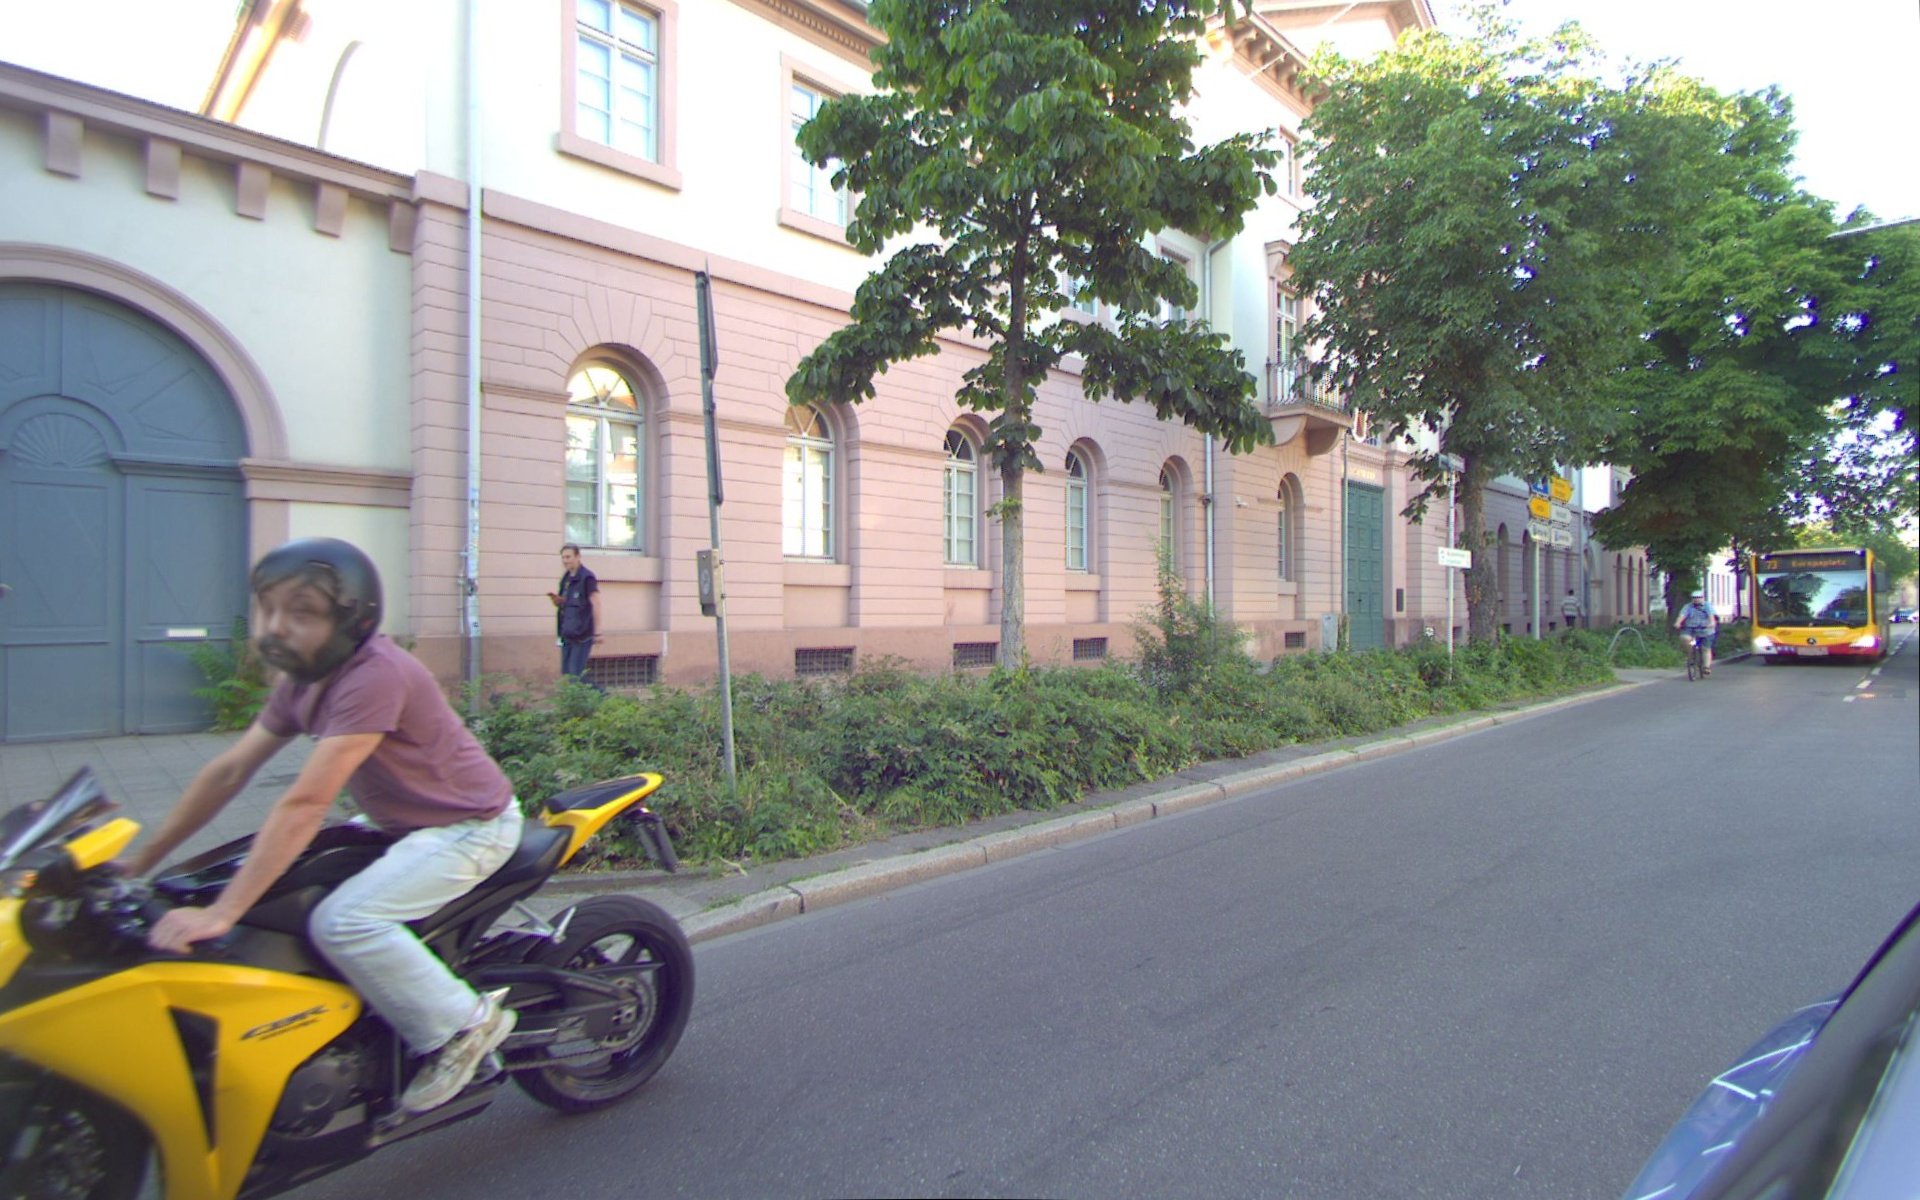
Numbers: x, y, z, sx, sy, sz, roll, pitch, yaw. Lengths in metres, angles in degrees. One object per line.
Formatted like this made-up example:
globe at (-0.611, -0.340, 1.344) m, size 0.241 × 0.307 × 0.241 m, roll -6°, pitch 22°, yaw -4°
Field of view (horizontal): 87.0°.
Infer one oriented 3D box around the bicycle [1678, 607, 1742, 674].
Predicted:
bicycle at (15.848, 0.838, 21.369) m, size 0.781 × 1.347 × 2.044 m, roll -3°, pitch -2°, yaw 44°

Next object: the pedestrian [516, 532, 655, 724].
pedestrian at (-3.862, 0.259, 10.461) m, size 0.798 × 1.862 × 1.066 m, roll 3°, pitch 1°, yaw 43°

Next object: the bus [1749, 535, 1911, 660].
bus at (25.854, -0.018, 29.771) m, size 2.704 × 3.039 × 11.886 m, roll -3°, pitch -2°, yaw 45°

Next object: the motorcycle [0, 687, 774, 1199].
motorcycle at (-1.506, 0.889, 2.642) m, size 0.790 × 1.175 × 1.937 m, roll -2°, pitch -2°, yaw 41°

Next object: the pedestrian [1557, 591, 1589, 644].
pedestrian at (22.015, 0.610, 36.344) m, size 0.798 × 1.855 × 0.915 m, roll 0°, pitch -1°, yaw 43°

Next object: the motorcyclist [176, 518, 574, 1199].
motorcyclist at (-1.525, 0.557, 2.634) m, size 0.790 × 1.438 × 0.688 m, roll -2°, pitch -2°, yaw 42°

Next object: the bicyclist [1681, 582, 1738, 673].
bicyclist at (15.796, 0.571, 21.329) m, size 0.781 × 1.863 × 0.813 m, roll -3°, pitch -3°, yaw 45°
